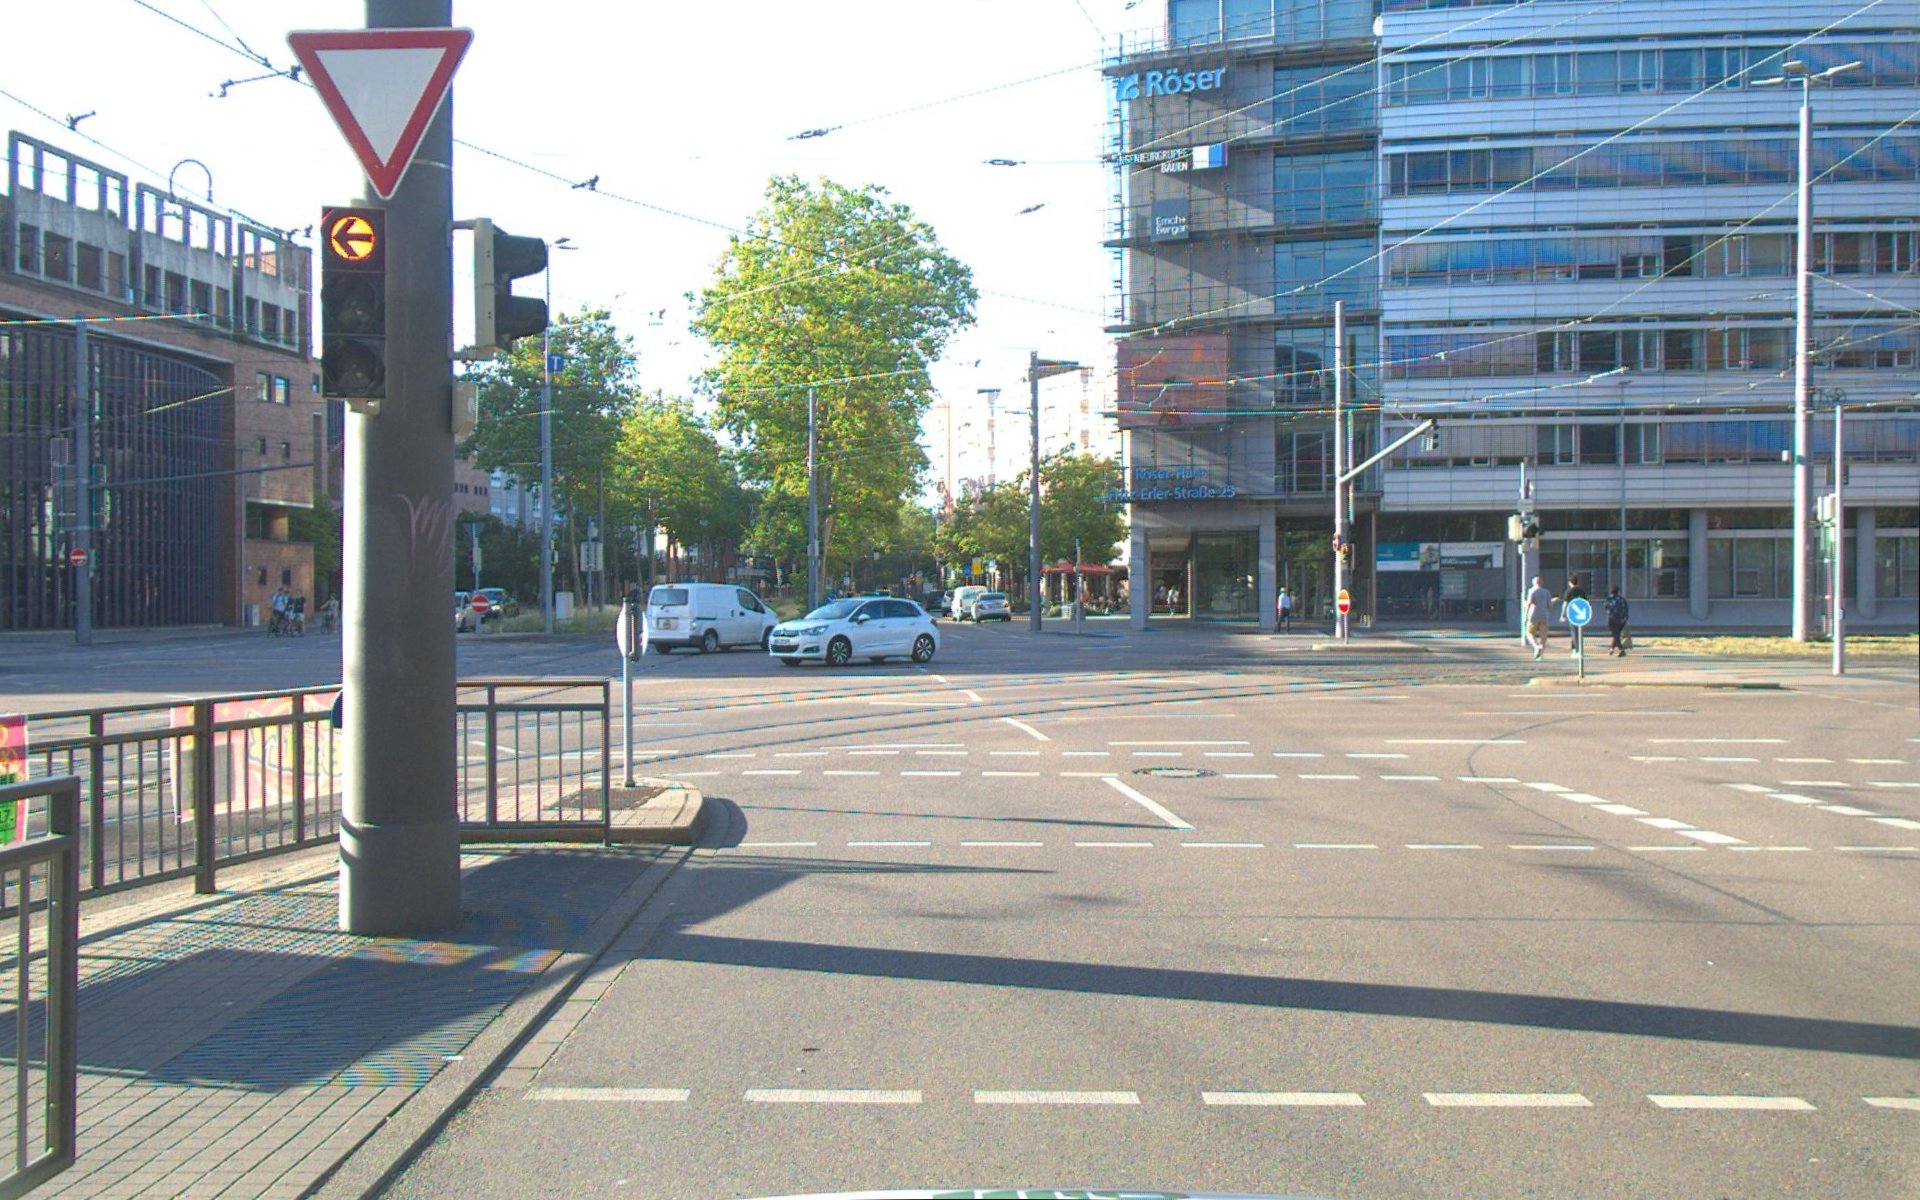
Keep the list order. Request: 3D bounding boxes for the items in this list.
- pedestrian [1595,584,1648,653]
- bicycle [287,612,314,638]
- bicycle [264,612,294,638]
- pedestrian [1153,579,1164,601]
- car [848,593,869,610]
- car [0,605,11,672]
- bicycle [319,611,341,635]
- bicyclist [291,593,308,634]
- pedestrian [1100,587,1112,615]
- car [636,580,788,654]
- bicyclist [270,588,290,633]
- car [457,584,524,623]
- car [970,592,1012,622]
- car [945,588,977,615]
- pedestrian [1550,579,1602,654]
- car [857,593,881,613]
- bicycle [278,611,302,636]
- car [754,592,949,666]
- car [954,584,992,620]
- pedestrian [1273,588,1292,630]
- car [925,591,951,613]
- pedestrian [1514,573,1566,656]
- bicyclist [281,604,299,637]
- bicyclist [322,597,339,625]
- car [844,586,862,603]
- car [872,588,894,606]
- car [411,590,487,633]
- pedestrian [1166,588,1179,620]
[{"bbox_3d":[15.423,0.424,38.584,0.928,1.591,0.897,-1,0,6],"label":"pedestrian"},{"bbox_3d":[-26.093,0.987,65.455,0.463,0.980,1.575,-1,0,-1],"label":"bicycle"},{"bbox_3d":[-26.828,0.977,65.156,0.531,0.980,1.586,-1,0,-1],"label":"bicycle"},{"bbox_3d":[15.411,-0.782,128.453,0.729,1.744,0.612,-1,0,-1],"label":"pedestrian"},{"bbox_3d":[-8.995,0.114,146.986,1.762,1.467,3.998,1,0,-3],"label":"car"},{"bbox_3d":[-21.378,0.860,34.734,1.601,1.451,4.084,-1,0,-17],"label":"car"},{"bbox_3d":[-27.104,0.995,71.139,0.442,0.980,1.347,-1,0,-1],"label":"bicycle"},{"bbox_3d":[-26.119,0.526,65.396,0.449,1.631,0.581,-1,0,-1],"label":"bicyclist"},{"bbox_3d":[9.267,0.055,105.031,0.729,1.744,0.612,-1,0,-1],"label":"pedestrian"},{"bbox_3d":[-6.710,0.419,45.224,1.722,1.899,4.517,-1,0,29],"label":"car"},{"bbox_3d":[-26.793,0.417,65.155,0.525,1.761,0.581,-1,0,-1],"label":"bicyclist"},{"bbox_3d":[-21.120,0.142,74.596,1.953,1.668,3.999,-1,0,-2],"label":"car"},{"bbox_3d":[1.537,0.335,82.789,1.953,1.400,3.999,-1,0,-1],"label":"car"},{"bbox_3d":[0.038,0.069,105.212,1.953,1.646,3.999,-1,0,-1],"label":"car"},{"bbox_3d":[14.428,0.375,38.763,0.893,1.714,1.036,-1,0,6],"label":"pedestrian"},{"bbox_3d":[-7.140,0.234,129.939,1.761,1.467,3.999,-1,0,-1],"label":"car"},{"bbox_3d":[-27.602,0.974,68.104,0.458,0.980,1.320,-1,0,-1],"label":"bicycle"},{"bbox_3d":[-2.378,0.614,36.978,4.277,1.514,1.732,-1,0,-45],"label":"car"},{"bbox_3d":[0.689,0.115,89.575,1.953,1.892,3.999,-1,0,-1],"label":"car"},{"bbox_3d":[11.754,0.326,60.324,0.599,1.534,0.579,-1,0,2],"label":"pedestrian"},{"bbox_3d":[-1.676,0.129,126.635,1.953,1.646,3.999,-1,0,-1],"label":"car"},{"bbox_3d":[12.973,0.316,36.998,0.846,1.820,0.872,-1,0,1],"label":"pedestrian"},{"bbox_3d":[-27.615,0.851,68.167,0.495,1.327,0.581,-1,0,-1],"label":"bicyclist"},{"bbox_3d":[-27.065,0.478,71.137,0.495,1.199,0.581,-1,0,-1],"label":"bicyclist"},{"bbox_3d":[-13.119,-0.652,202.662,1.953,2.049,3.999,-1,0,-1],"label":"car"},{"bbox_3d":[-6.606,-0.284,142.905,1.761,1.467,3.999,-1,0,-1],"label":"car"},{"bbox_3d":[-20.667,0.443,67.038,1.953,1.668,3.999,-1,0,-2],"label":"car"},{"bbox_3d":[10.409,0.180,80.984,0.599,1.534,0.579,-1,0,7],"label":"pedestrian"}]
